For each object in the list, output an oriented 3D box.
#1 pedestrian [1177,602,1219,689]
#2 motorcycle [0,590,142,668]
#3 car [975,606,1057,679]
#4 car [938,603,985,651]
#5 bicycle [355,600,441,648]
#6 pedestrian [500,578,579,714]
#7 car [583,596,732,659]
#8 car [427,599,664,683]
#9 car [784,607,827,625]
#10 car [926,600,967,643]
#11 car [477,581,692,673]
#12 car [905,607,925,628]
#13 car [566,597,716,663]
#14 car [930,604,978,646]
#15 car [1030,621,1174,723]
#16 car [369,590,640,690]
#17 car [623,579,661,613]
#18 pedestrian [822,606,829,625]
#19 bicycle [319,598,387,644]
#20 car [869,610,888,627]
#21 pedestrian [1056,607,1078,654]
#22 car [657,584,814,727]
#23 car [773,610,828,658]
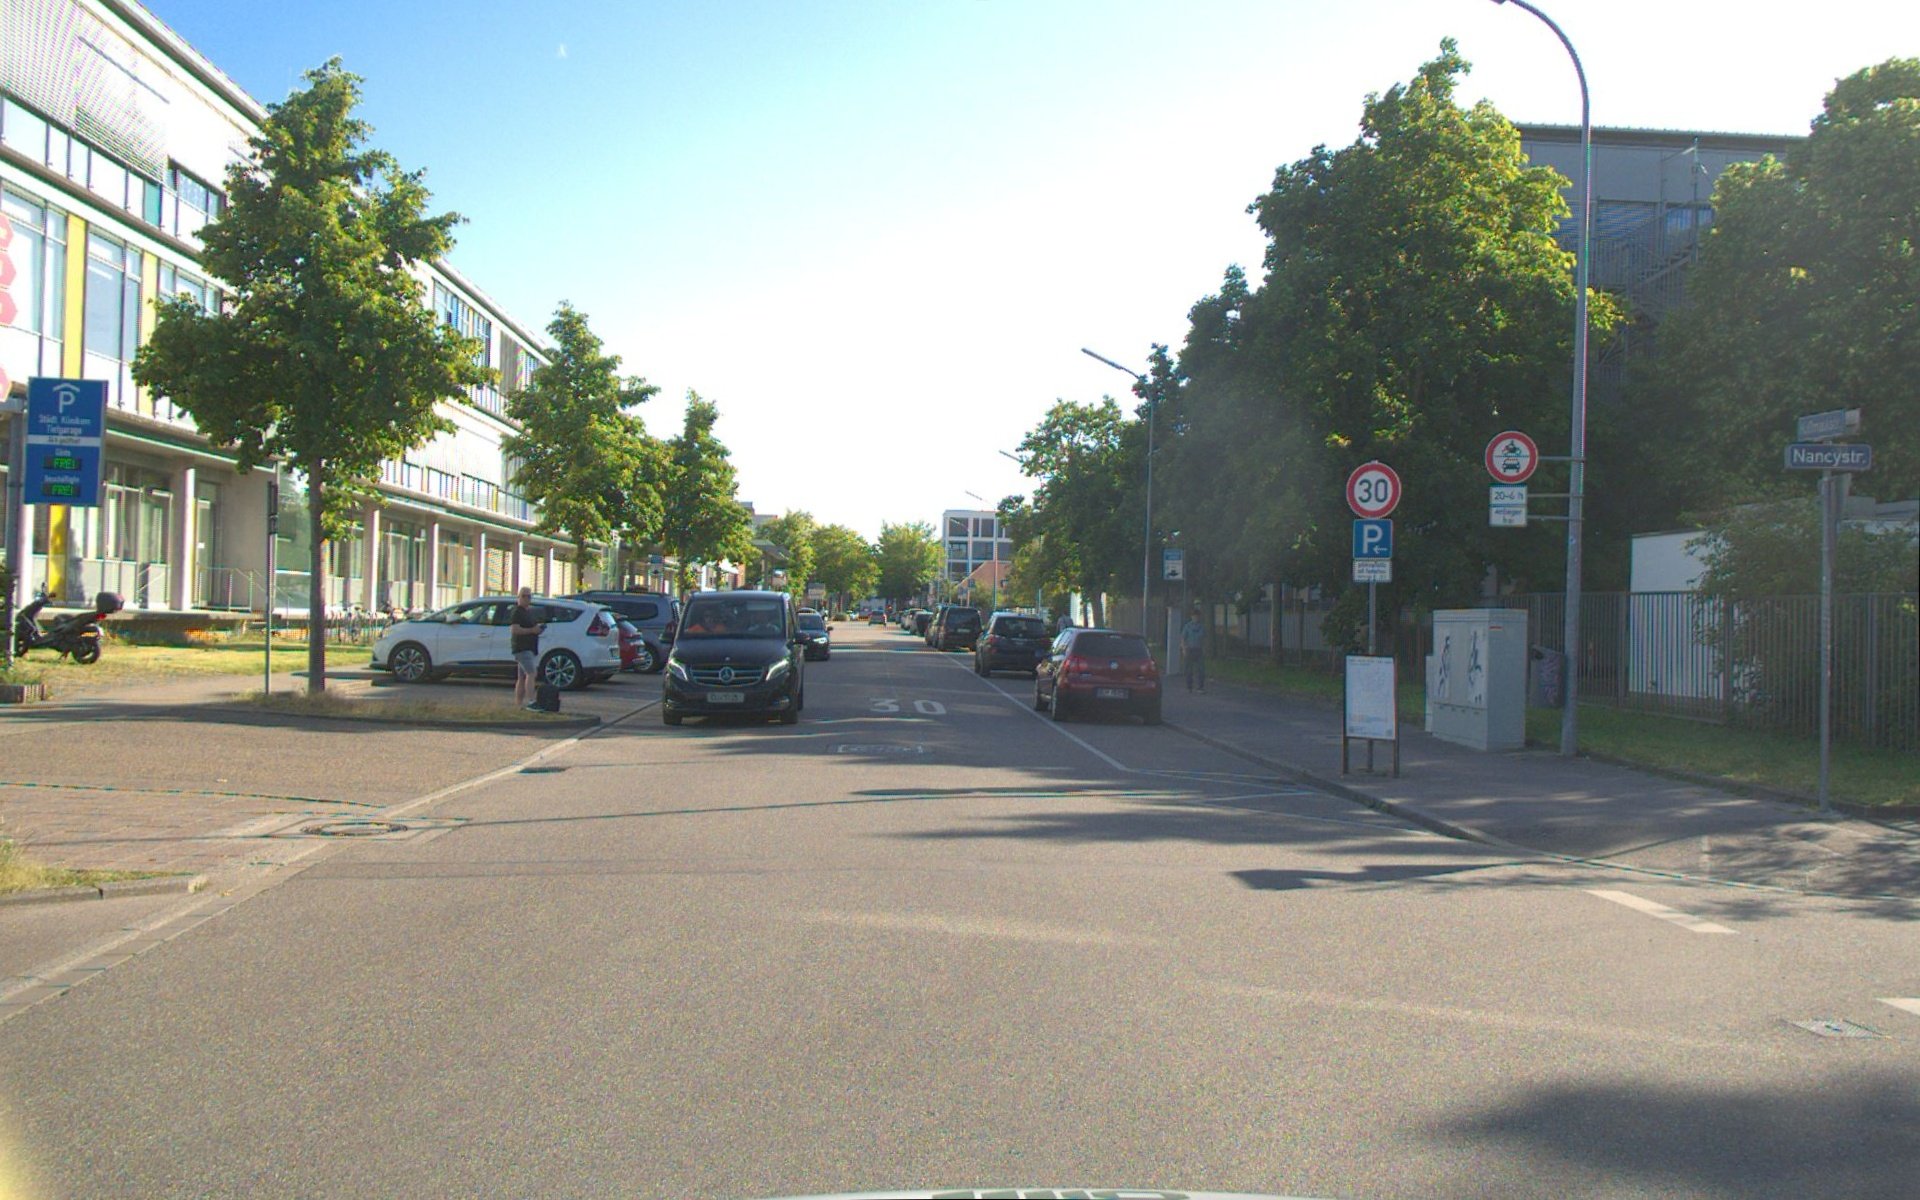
[{"bbox_3d":[4.979,0.940,34.613,0.703,1.789,0.884,-1,0,-3],"label":"pedestrian"},{"bbox_3d":[-14.983,0.484,27.886,2.004,1.169,0.498,4,0,-6],"label":"motorcycle"},{"bbox_3d":[1.424,1.070,43.824,1.776,1.695,4.590,3,0,-2],"label":"car"},{"bbox_3d":[0.045,1.105,68.731,1.698,1.862,3.903,1,0,-3],"label":"car"},{"bbox_3d":[-14.850,0.657,43.784,0.851,1.174,2.373,3,-1,18],"label":"bicycle"},{"bbox_3d":[-6.040,0.658,23.788,0.840,1.874,0.825,3,-1,-2],"label":"pedestrian"},{"bbox_3d":[-8.963,0.814,49.273,4.166,1.640,2.045,3,-1,-7],"label":"car"},{"bbox_3d":[-8.368,0.824,33.694,4.345,1.527,1.826,2,-1,-3],"label":"car"},{"bbox_3d":[-14.490,1.512,155.481,3.907,1.546,1.998,2,-2,-3],"label":"car"},{"bbox_3d":[-0.682,1.045,81.191,1.837,2.013,3.997,0,0,-3],"label":"car"},{"bbox_3d":[-8.864,0.641,39.321,4.648,1.897,1.826,3,0,-3],"label":"car"},{"bbox_3d":[-3.542,1.355,129.954,1.407,1.588,3.040,2,0,-3],"label":"car"},{"bbox_3d":[-8.875,0.831,46.321,3.911,1.635,1.869,3,-1,-7],"label":"car"},{"bbox_3d":[-0.298,1.107,74.959,1.954,1.855,4.195,0,0,-3],"label":"car"},{"bbox_3d":[2.286,1.140,27.817,1.686,1.480,4.648,3,-1,-4],"label":"car"},{"bbox_3d":[-8.473,0.739,31.046,4.517,1.680,1.867,2,-1,0],"label":"car"},{"bbox_3d":[-21.157,-0.253,110.199,1.954,2.049,3.997,2,-2,-3],"label":"car"},{"bbox_3d":[-11.824,1.390,145.575,0.606,1.653,0.715,0,-1,-4],"label":"pedestrian"},{"bbox_3d":[-16.227,0.580,44.287,0.851,1.174,1.993,3,-1,6],"label":"bicycle"},{"bbox_3d":[-7.781,1.727,157.571,1.709,1.570,3.997,2,-1,-3],"label":"car"},{"bbox_3d":[3.971,1.125,61.353,0.684,1.690,0.751,-1,0,-4],"label":"pedestrian"},{"bbox_3d":[-3.252,0.760,24.906,1.916,1.900,5.251,-1,0,-3],"label":"car"},{"bbox_3d":[-5.099,1.054,52.658,1.671,1.476,4.081,0,0,-6],"label":"car"}]
